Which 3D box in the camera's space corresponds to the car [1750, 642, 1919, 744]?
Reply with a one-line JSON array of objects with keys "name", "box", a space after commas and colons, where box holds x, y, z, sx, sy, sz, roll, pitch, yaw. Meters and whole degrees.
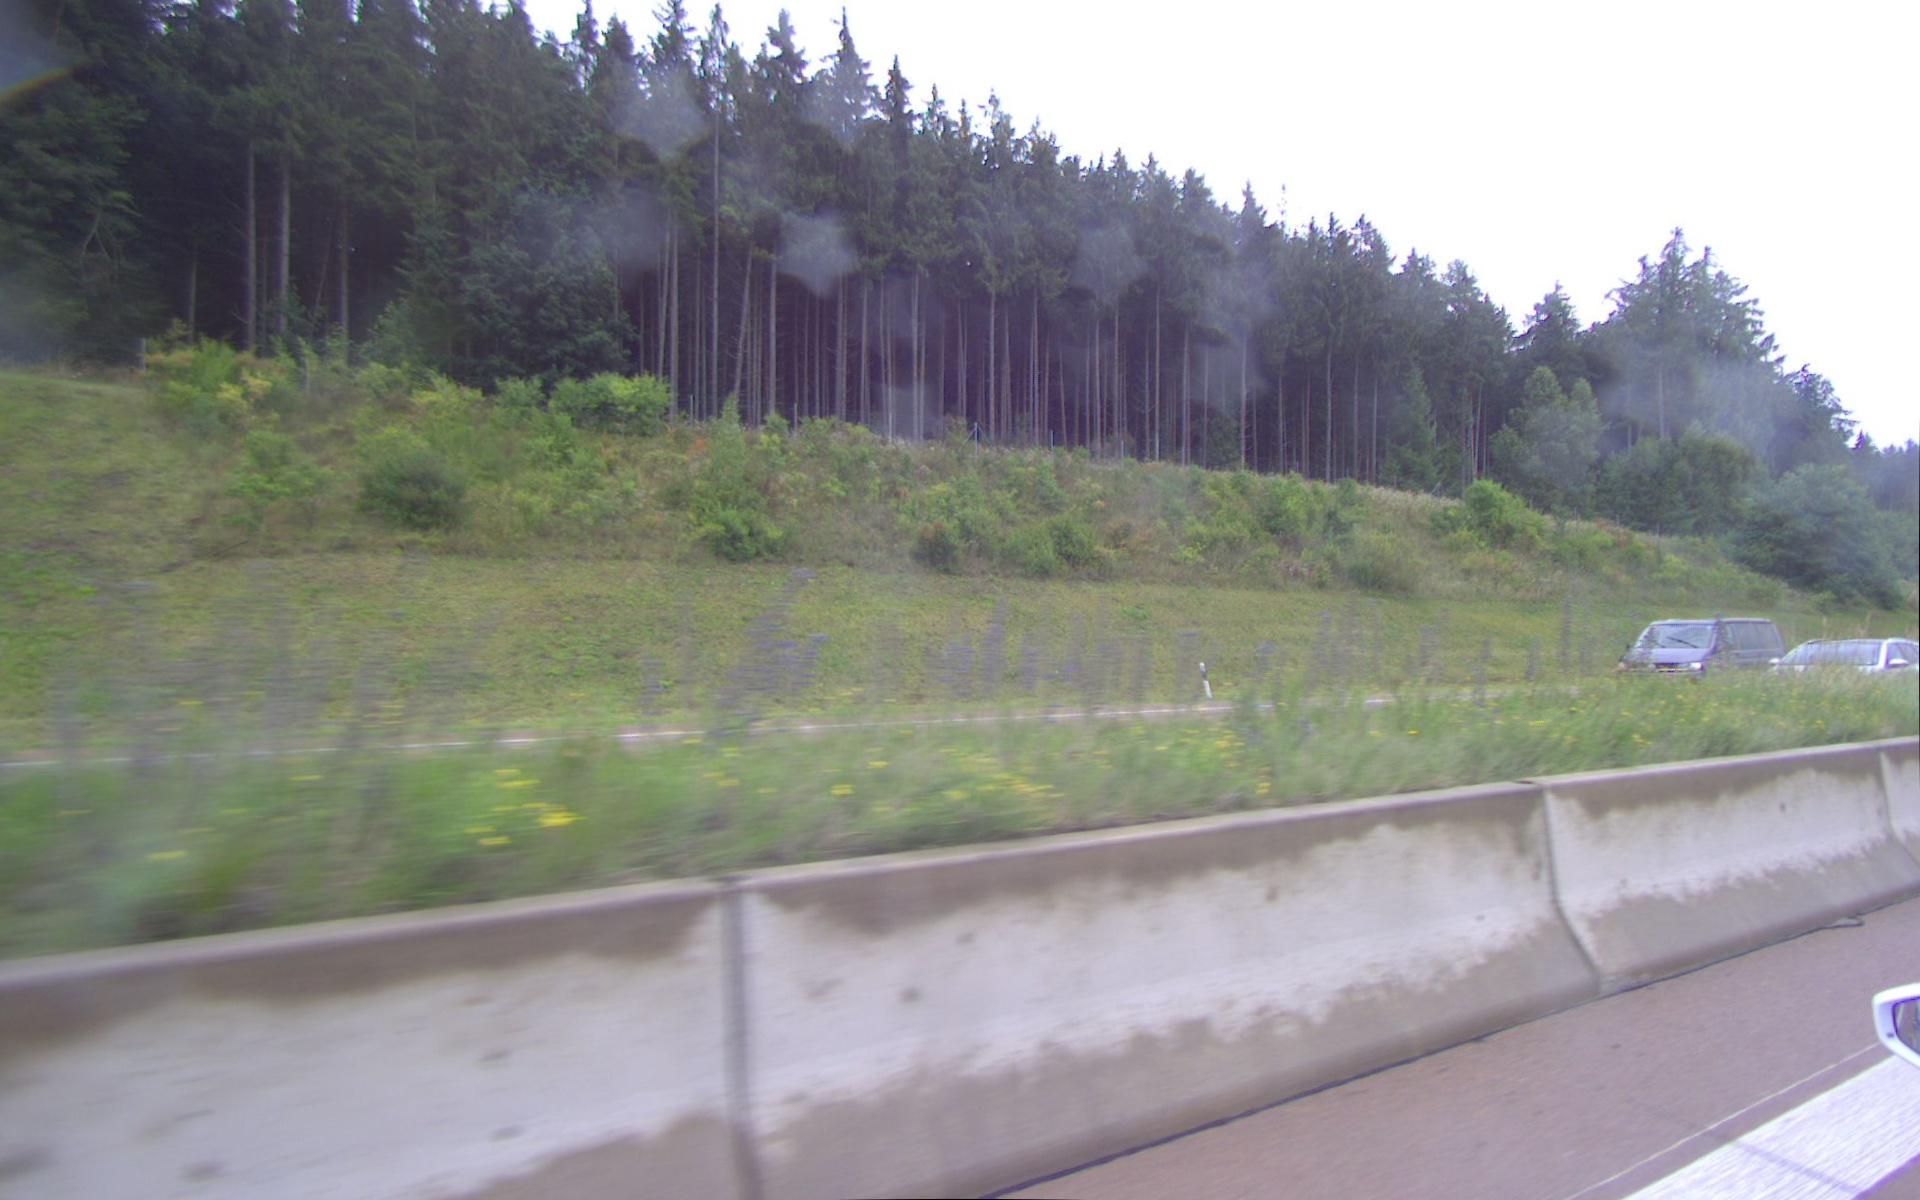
[{"name": "car", "box": [16.530, 1.654, 18.501, 3.801, 1.624, 1.834, 2, -1, -31]}]

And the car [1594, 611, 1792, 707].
[{"name": "car", "box": [17.663, 1.418, 24.148, 5.011, 2.085, 2.029, 2, -3, -31]}]
